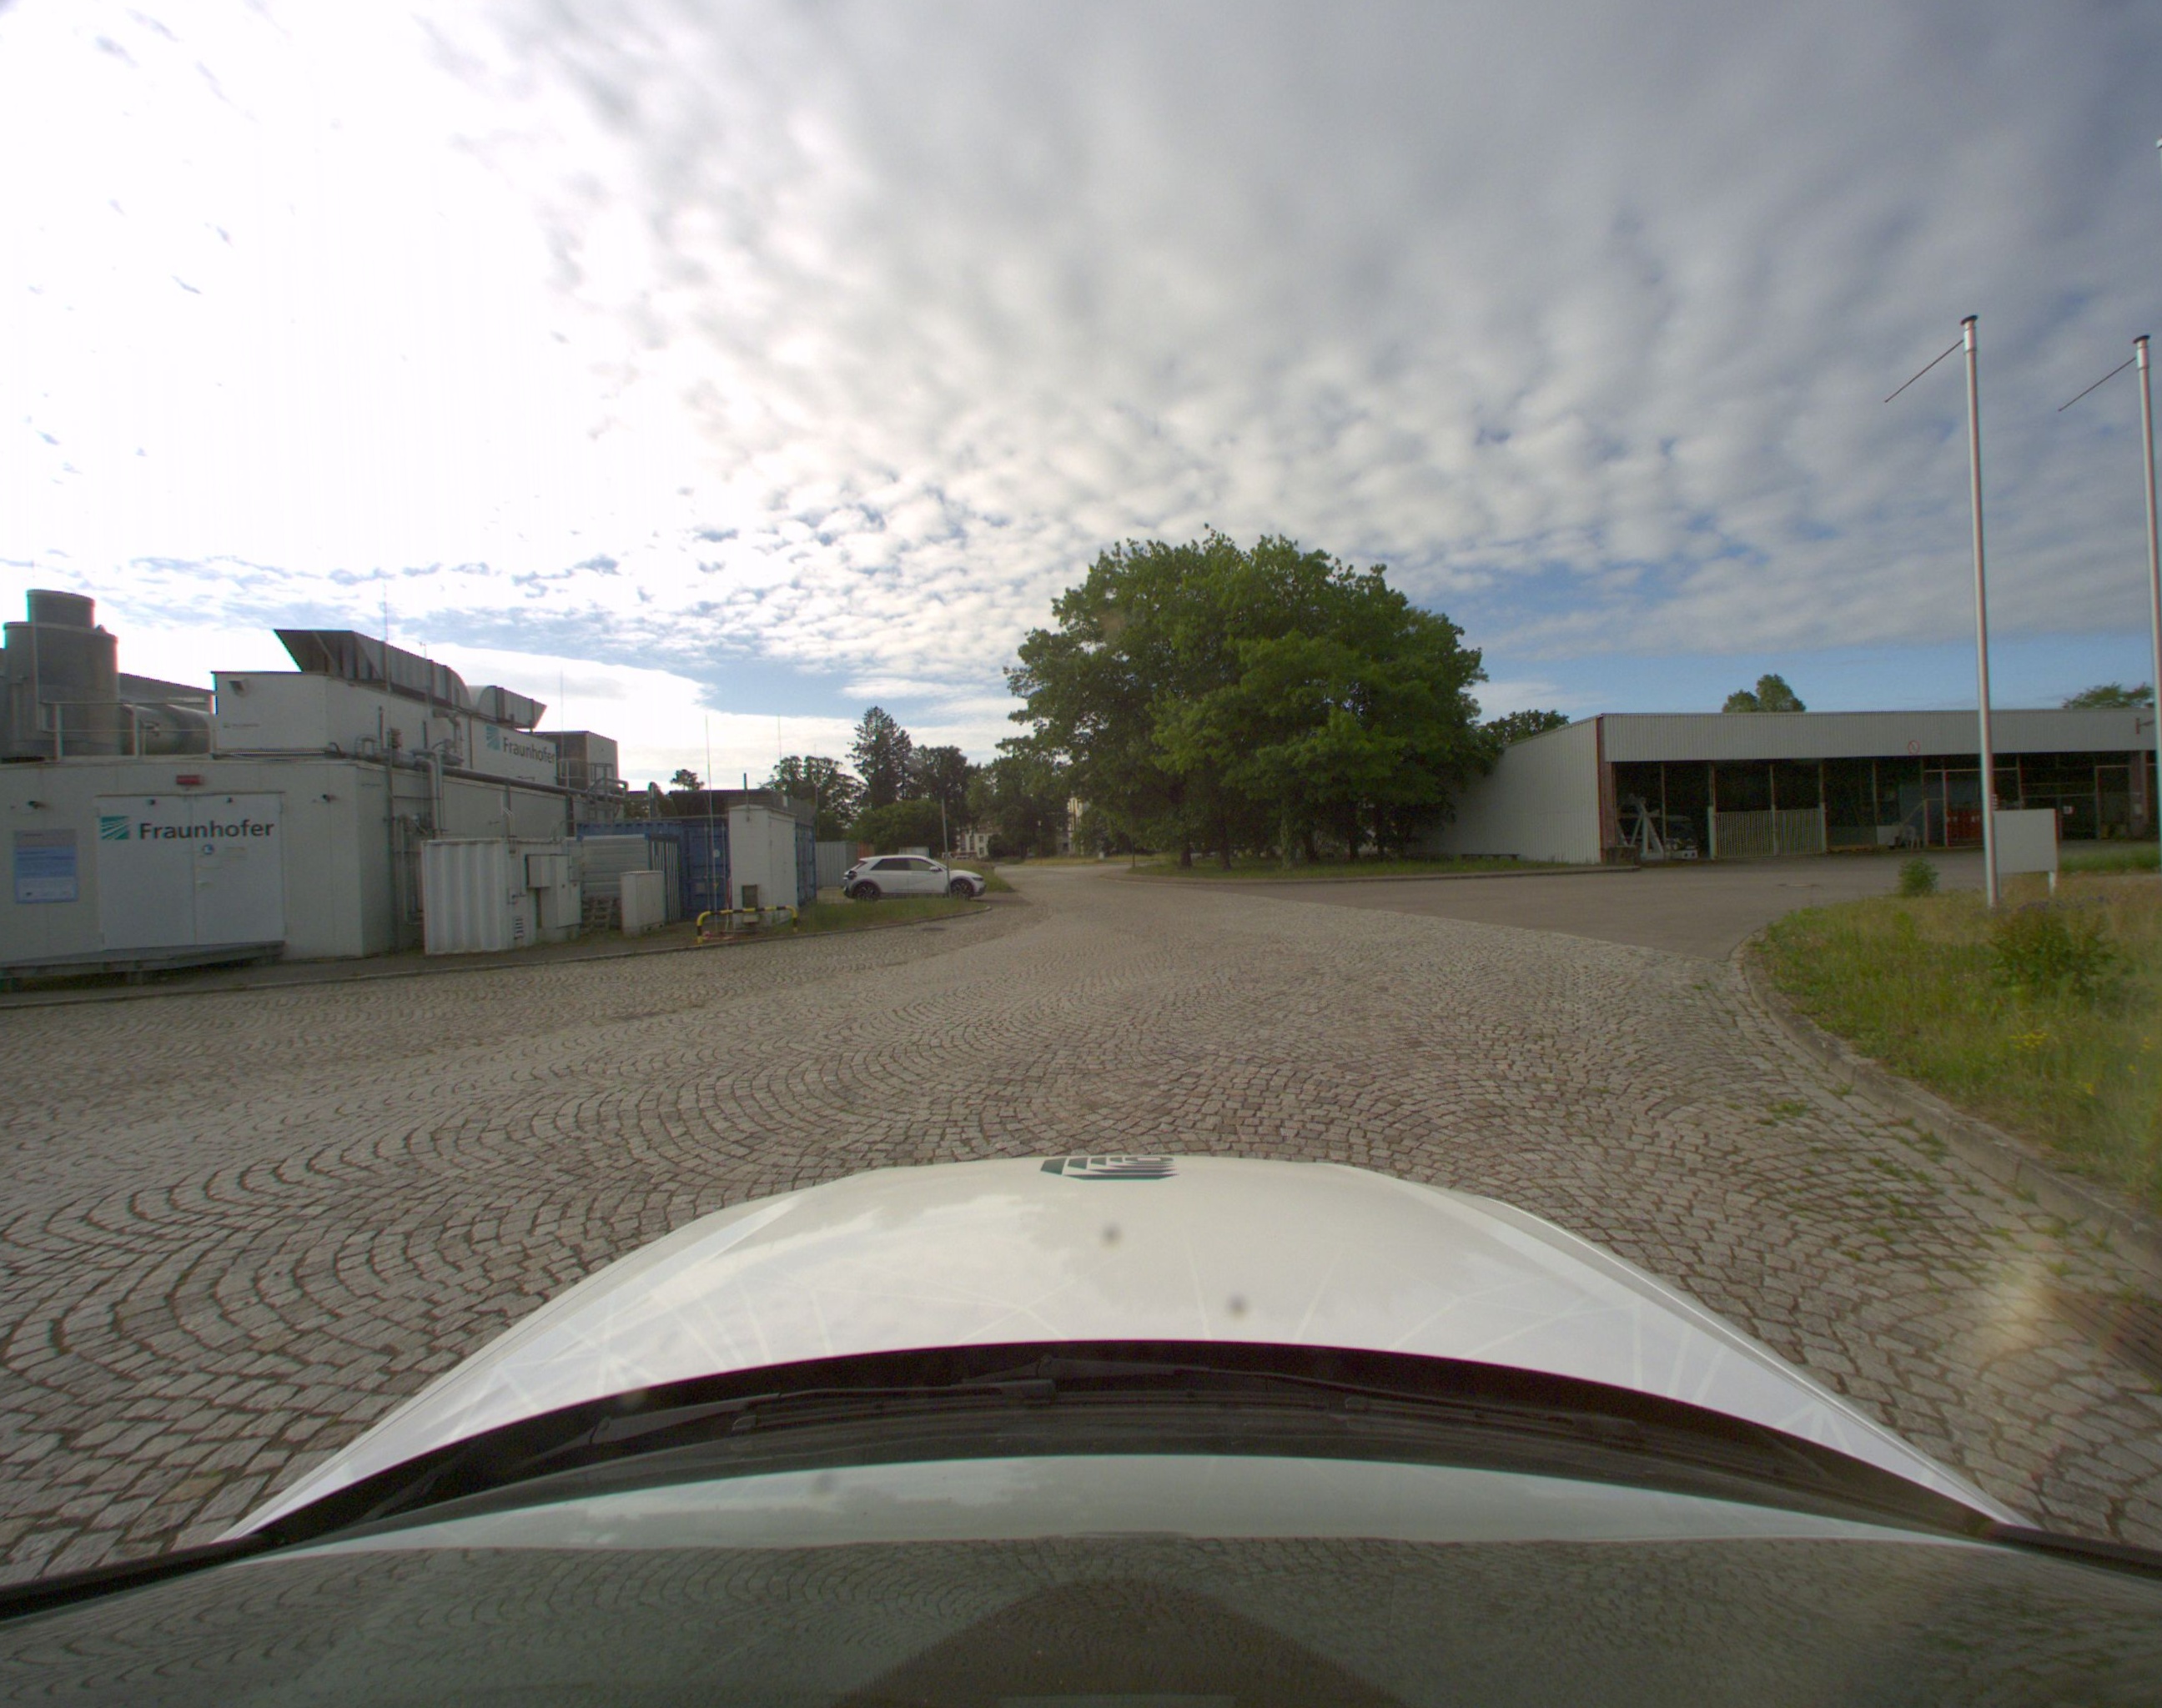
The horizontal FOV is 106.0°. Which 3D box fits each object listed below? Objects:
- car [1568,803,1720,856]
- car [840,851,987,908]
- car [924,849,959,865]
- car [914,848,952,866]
[{"bbox_3d":[24.063,-0.963,35.112,2.242,2.013,5.317,-3,0,-11],"label":"car"},{"bbox_3d":[-5.443,0.811,27.033,4.530,1.599,1.995,-3,0,-8],"label":"car"},{"bbox_3d":[-21.707,0.452,126.986,5.171,2.337,1.993,-3,0,-10],"label":"car"},{"bbox_3d":[-21.336,0.381,117.374,5.171,2.337,1.993,-3,0,-10],"label":"car"}]
